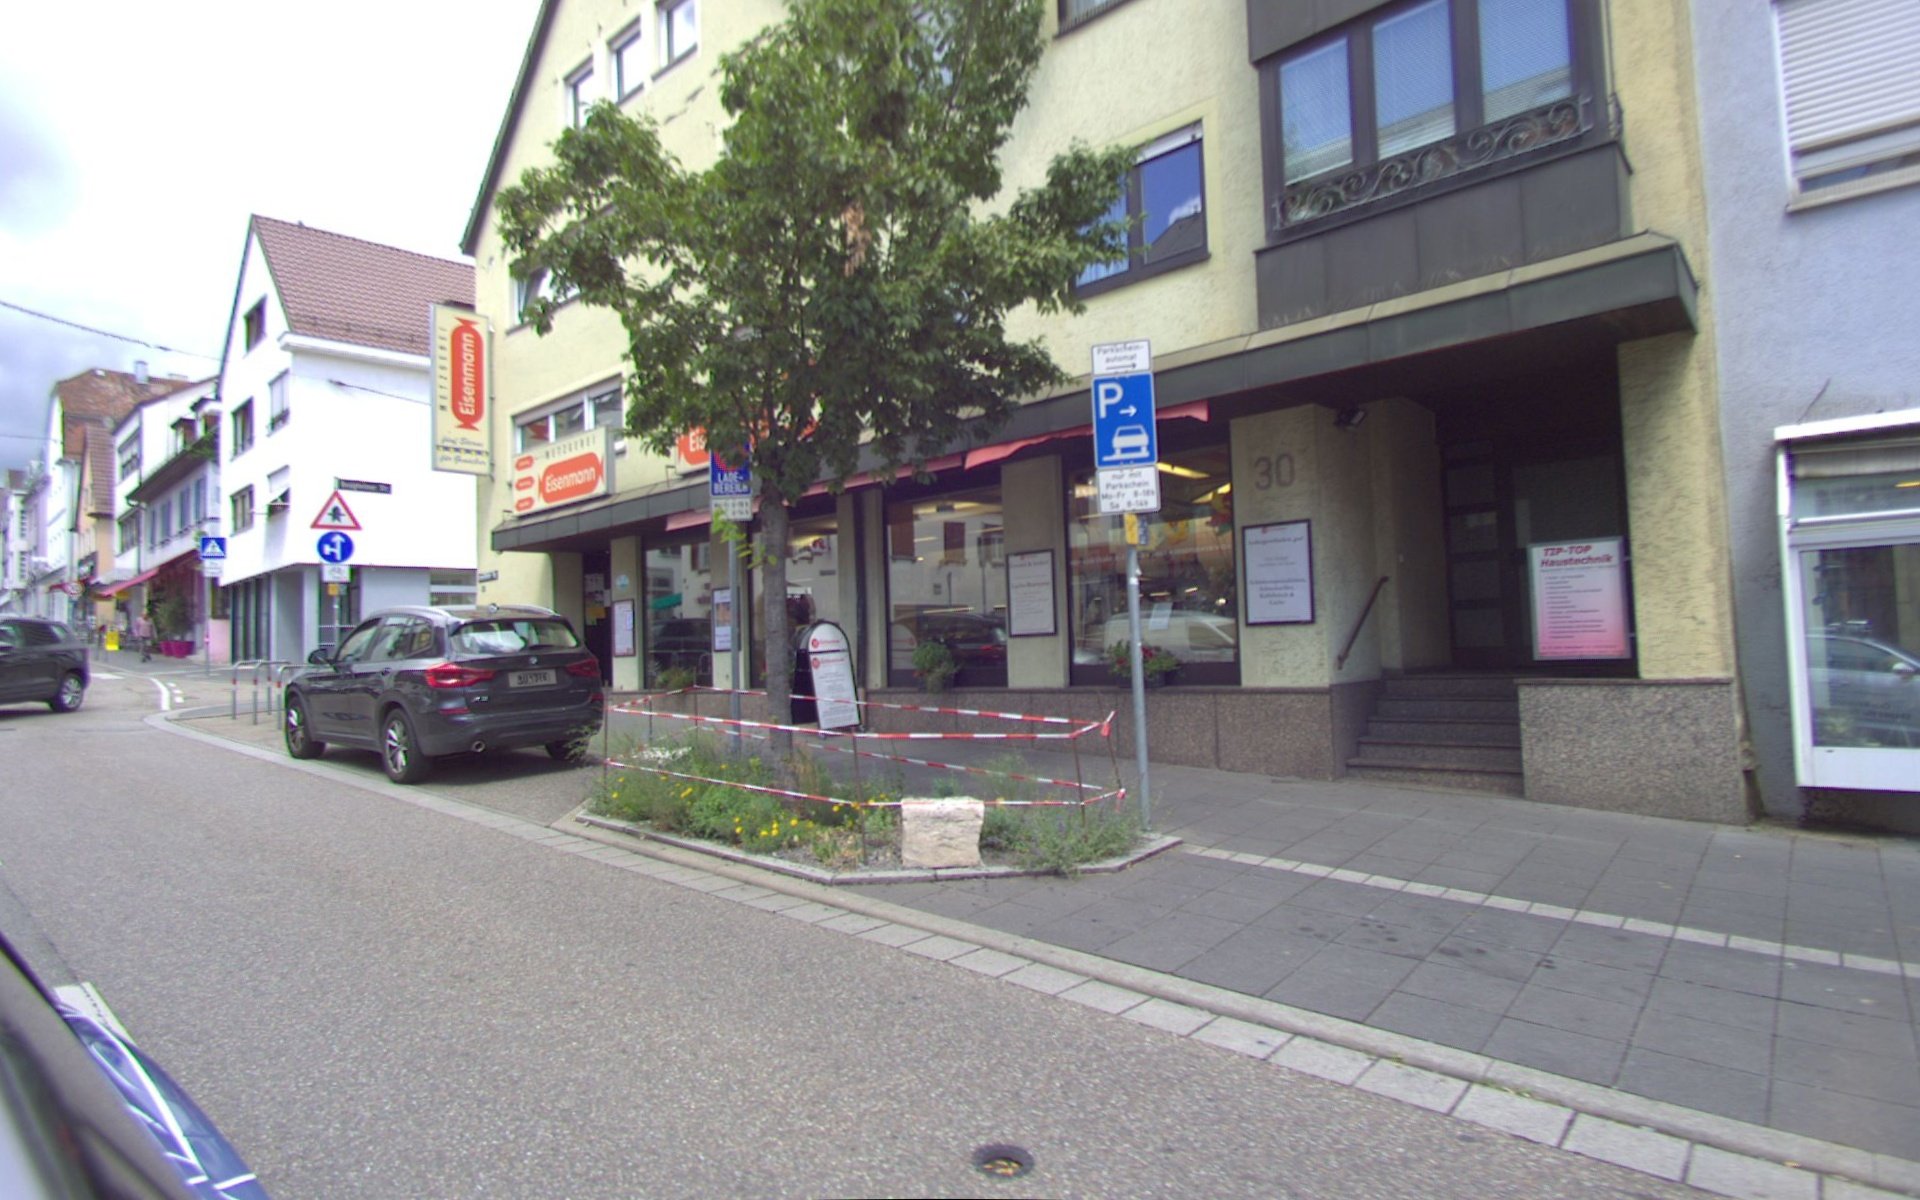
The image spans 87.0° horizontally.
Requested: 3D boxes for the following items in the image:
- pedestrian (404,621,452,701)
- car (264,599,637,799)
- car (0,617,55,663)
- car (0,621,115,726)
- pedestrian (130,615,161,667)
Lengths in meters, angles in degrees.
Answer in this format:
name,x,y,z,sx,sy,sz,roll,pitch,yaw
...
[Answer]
name,x,y,z,sx,sy,sz,roll,pitch,yaw
pedestrian,-11.886,1.343,22.615,0.835,1.752,0.630,-1,-3,39
car,-5.672,0.910,10.998,4.604,1.706,1.986,-2,-1,41
car,-35.867,1.475,38.272,4.354,1.633,1.942,-1,-2,42
car,-15.493,1.114,15.485,1.885,1.581,4.379,1,-2,-8
pedestrian,-27.827,1.404,34.572,0.825,1.753,0.686,-2,-2,43
